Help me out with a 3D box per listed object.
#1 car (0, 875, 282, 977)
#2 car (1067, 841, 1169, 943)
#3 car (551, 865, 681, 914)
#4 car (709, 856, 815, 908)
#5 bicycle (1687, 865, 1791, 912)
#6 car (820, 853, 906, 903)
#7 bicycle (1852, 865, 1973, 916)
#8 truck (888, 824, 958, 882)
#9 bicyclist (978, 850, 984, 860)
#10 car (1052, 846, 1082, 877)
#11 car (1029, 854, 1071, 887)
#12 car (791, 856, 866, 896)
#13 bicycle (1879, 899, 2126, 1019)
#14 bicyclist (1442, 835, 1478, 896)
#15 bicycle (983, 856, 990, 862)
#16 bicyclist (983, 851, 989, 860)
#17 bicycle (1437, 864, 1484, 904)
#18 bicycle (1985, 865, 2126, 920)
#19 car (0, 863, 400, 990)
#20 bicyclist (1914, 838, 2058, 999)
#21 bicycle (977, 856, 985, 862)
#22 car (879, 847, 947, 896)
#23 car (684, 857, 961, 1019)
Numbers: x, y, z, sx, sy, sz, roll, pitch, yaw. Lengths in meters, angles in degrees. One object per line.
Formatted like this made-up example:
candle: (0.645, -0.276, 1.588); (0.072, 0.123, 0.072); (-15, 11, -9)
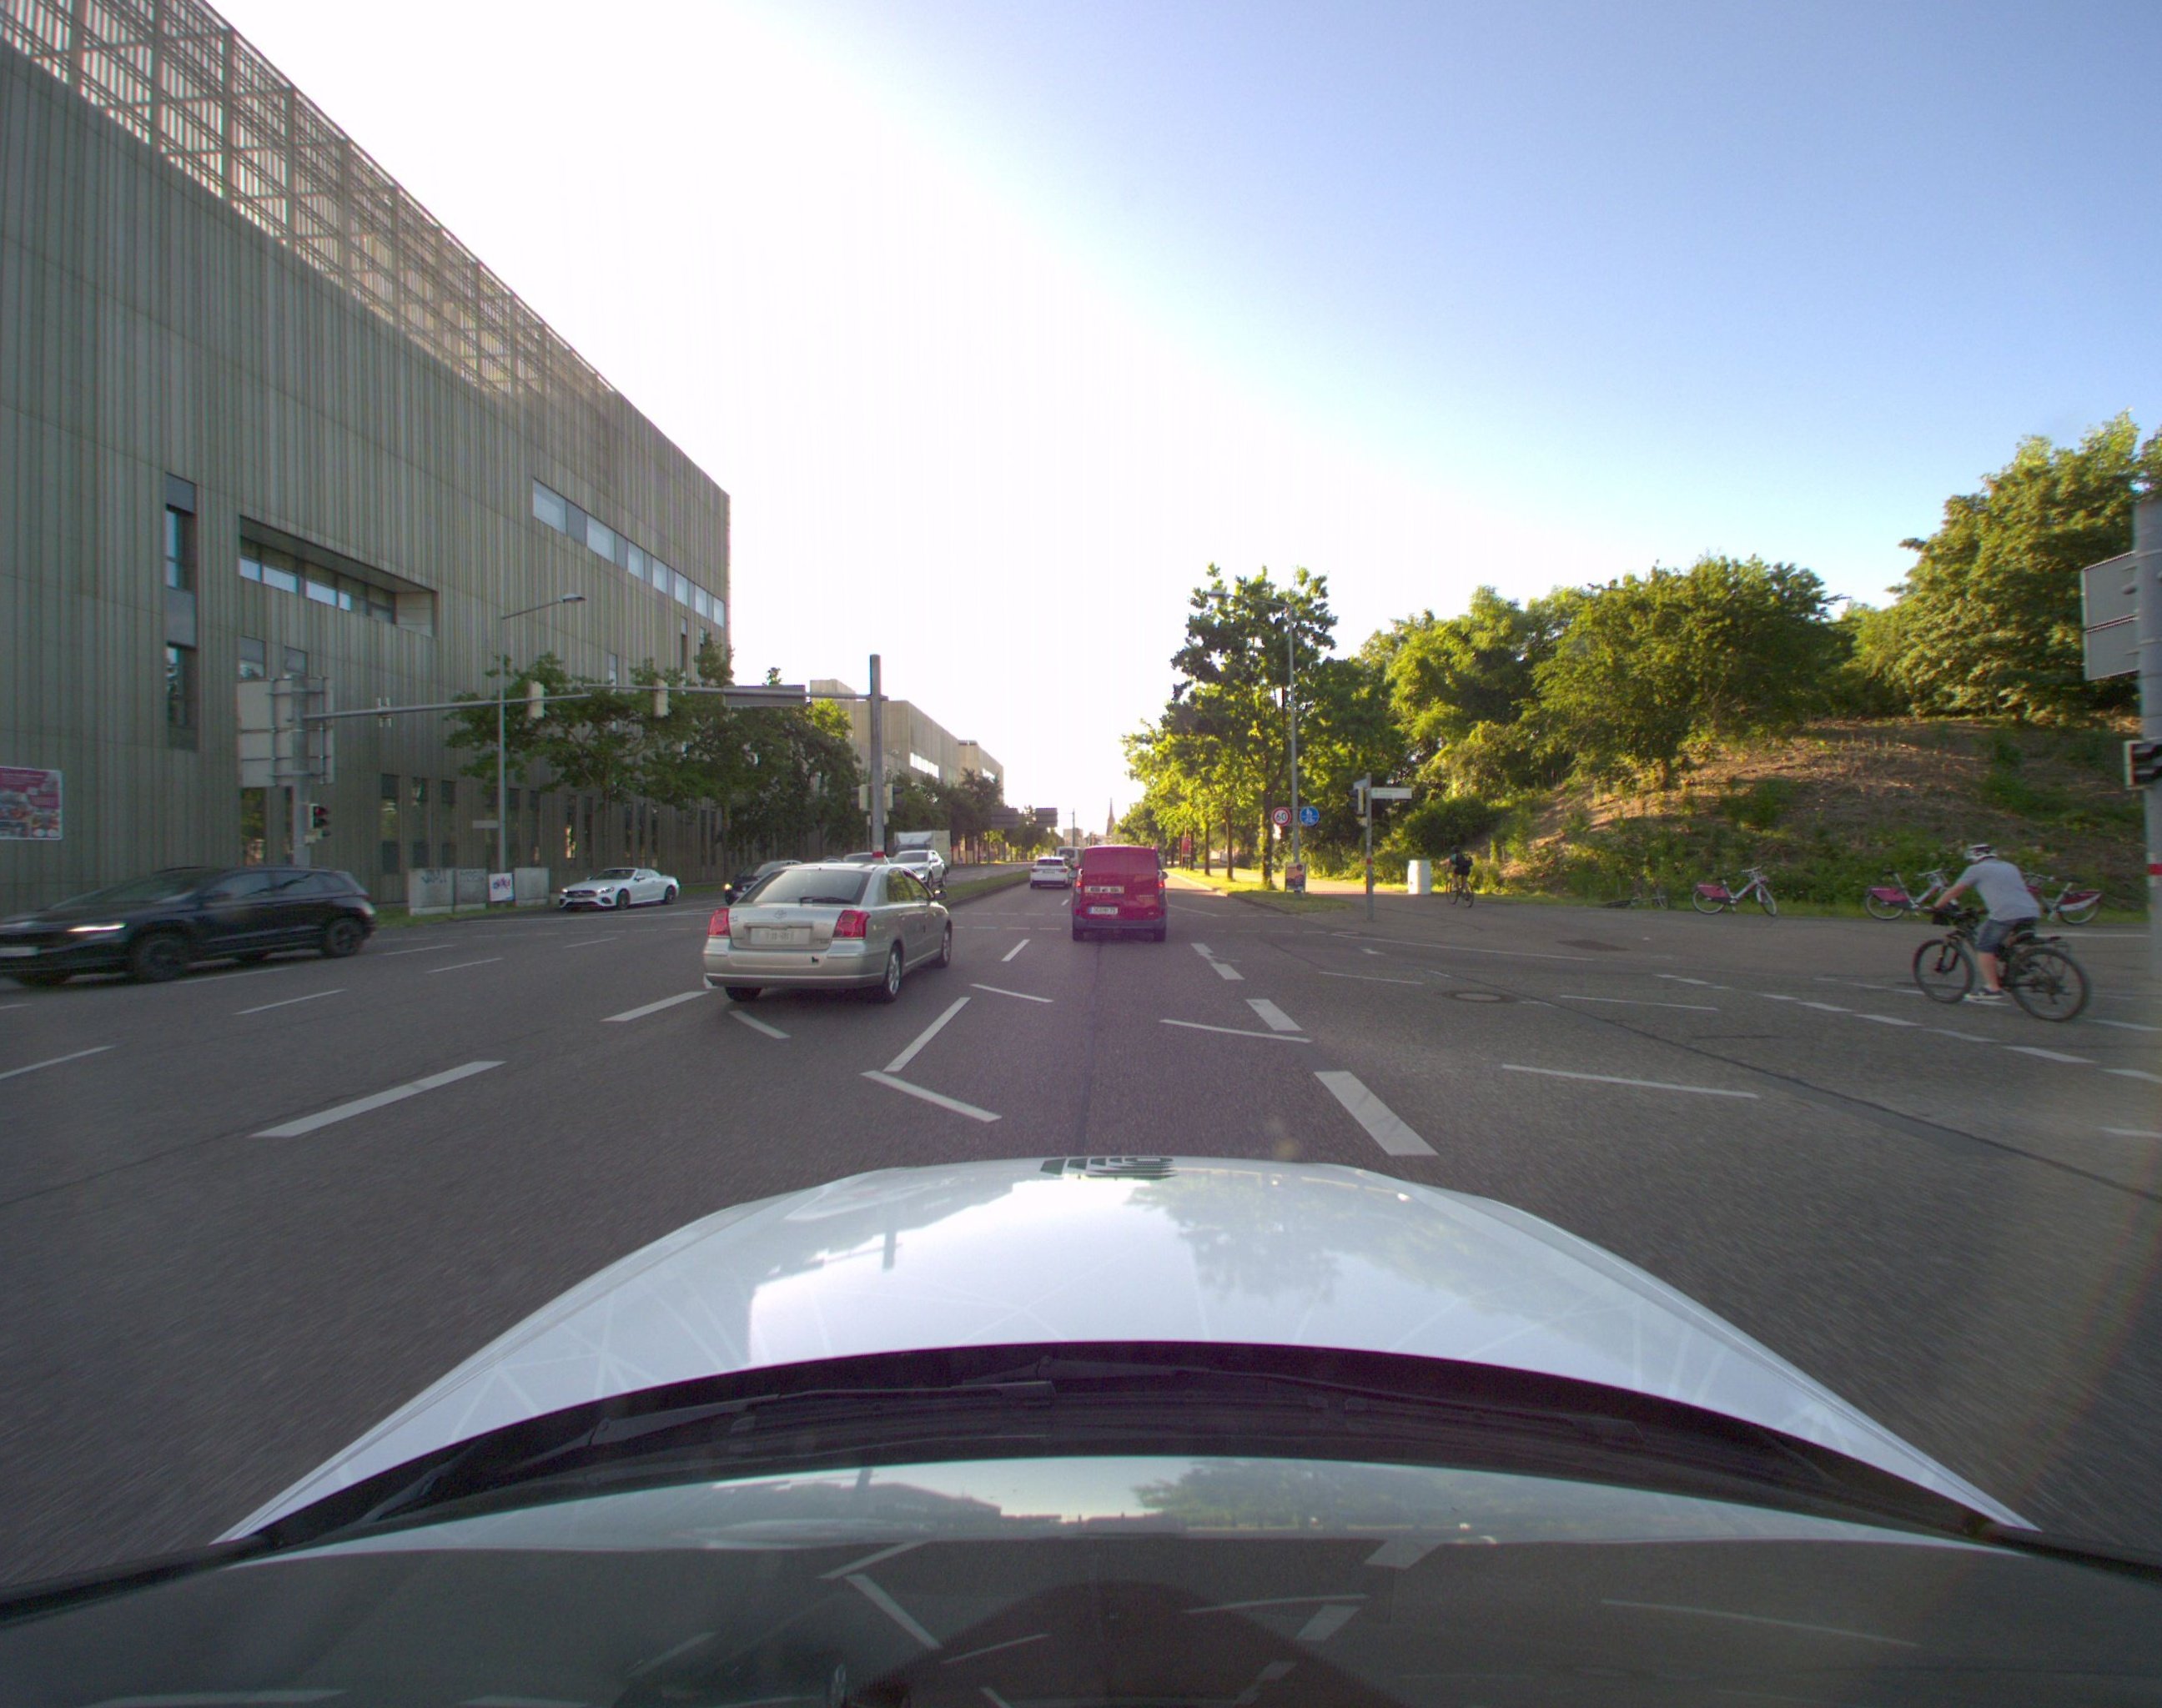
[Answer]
car: (-16.401, 1.161, 14.043); (1.640, 1.434, 3.494); (-3, -1, 2)
car: (0.675, 0.644, 16.419); (1.799, 1.794, 4.000); (0, 1, 0)
car: (-15.777, 1.143, 27.962); (1.683, 1.443, 4.561); (-3, -1, 2)
car: (-10.134, 0.846, 26.200); (1.630, 1.443, 4.078); (-3, -1, 2)
bicycle: (14.751, 0.770, 18.287); (1.734, 1.023, 0.595); (0, -2, 9)
car: (-6.958, 0.735, 26.386); (1.630, 1.443, 3.720); (-3, -1, 2)
bicycle: (17.189, 0.755, 16.863); (1.734, 1.023, 0.595); (0, -2, 9)
truck: (-9.072, -0.030, 47.451); (2.400, 3.027, 6.659); (-3, -1, 2)
bicyclist: (-19.024, 0.186, 155.301); (0.906, 1.766, 1.397); (0, -2, 2)
car: (-0.878, 0.530, 53.923); (1.794, 1.989, 4.589); (0, -2, 1)
car: (-1.372, 0.734, 37.273); (1.808, 1.438, 3.730); (0, 0, 0)
car: (-10.255, 0.850, 33.361); (1.630, 1.443, 4.078); (-3, -1, 2)
bicycle: (9.168, 0.998, 8.226); (0.589, 1.023, 1.752); (0, -2, 5)
bicyclist: (10.308, 0.321, 22.201); (0.589, 1.614, 0.943); (0, -2, 4)
bicycle: (-18.017, 0.988, 155.284); (0.906, 1.199, 3.302); (0, -2, 2)
bicyclist: (-18.021, 0.198, 155.306); (0.906, 1.686, 1.409); (0, -2, 2)
bicycle: (10.322, 0.808, 22.194); (0.589, 1.023, 1.752); (0, -2, 5)
bicycle: (18.854, 0.730, 15.790); (1.733, 1.023, 0.595); (0, -2, 12)
car: (-13.305, 0.963, 12.593); (1.640, 1.545, 4.401); (-3, -1, 3)
bicyclist: (9.143, 0.627, 8.259); (0.589, 1.549, 0.770); (0, -2, 4)
bicycle: (-19.039, 0.984, 155.304); (0.906, 1.199, 3.302); (0, -2, 2)
car: (-6.806, 0.698, 33.408); (1.751, 1.796, 4.084); (-3, -1, 2)
car: (-2.711, 0.796, 9.684); (1.726, 1.480, 4.321); (-1, 0, 3)
